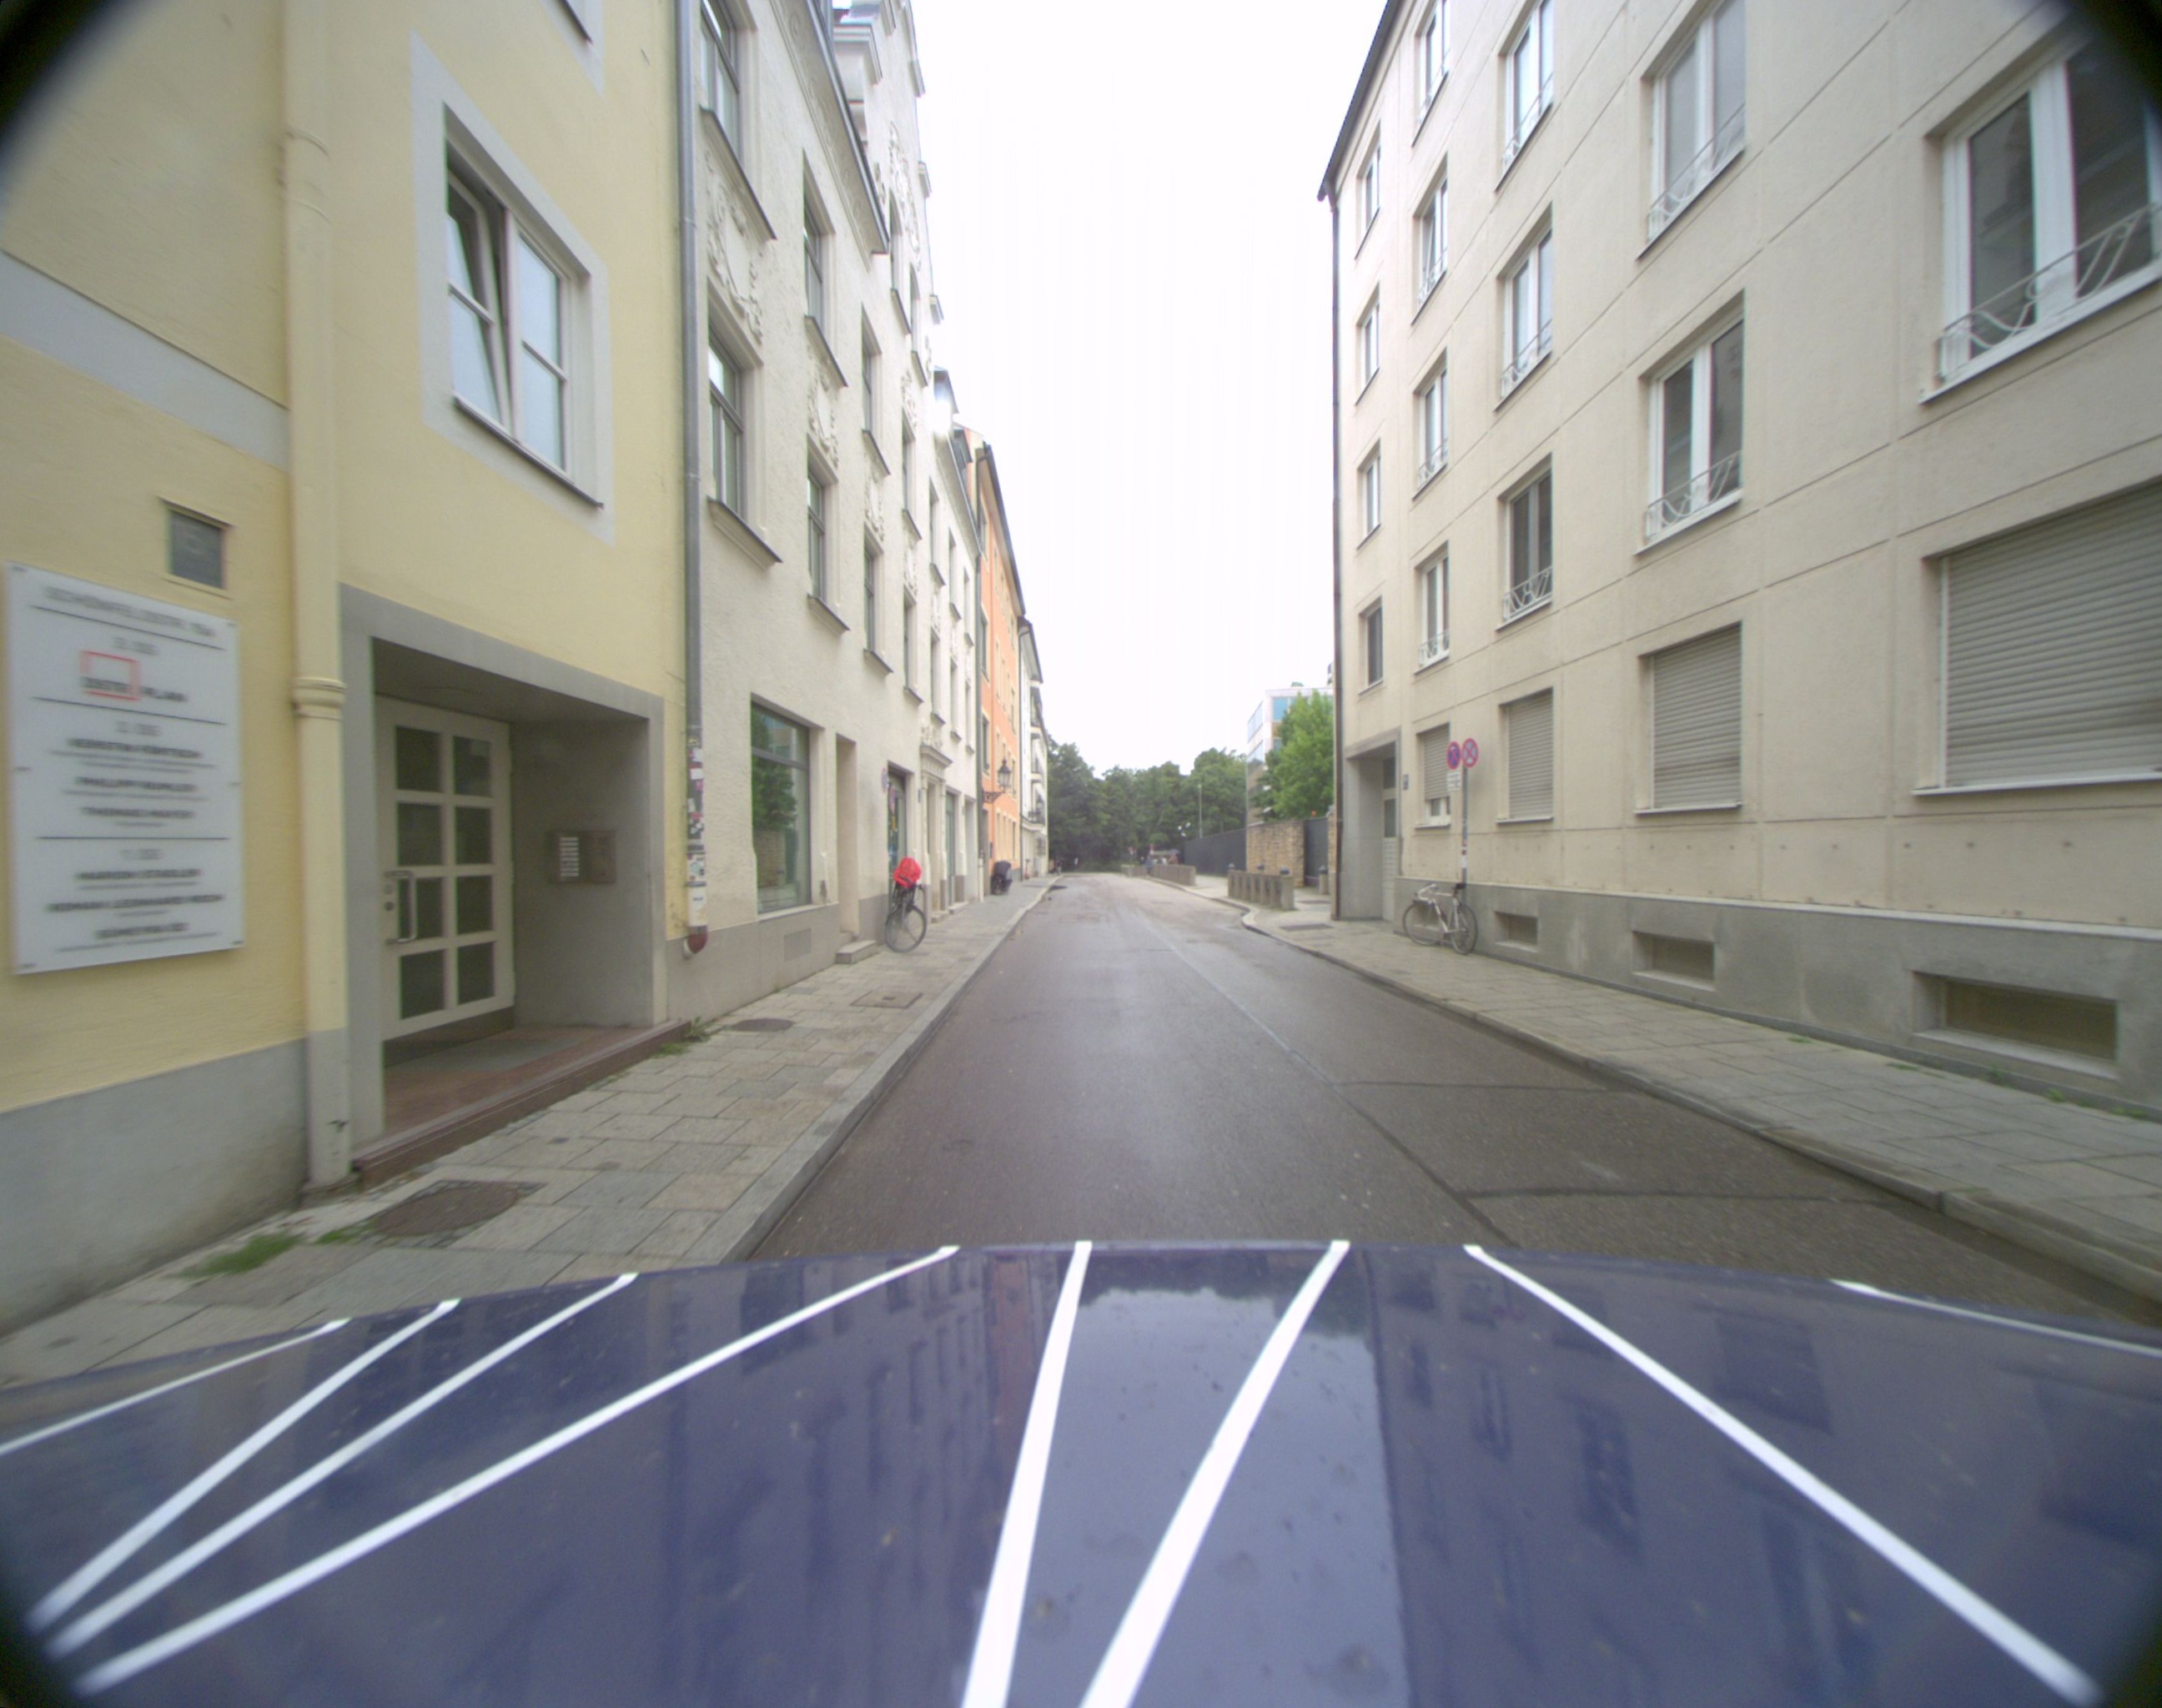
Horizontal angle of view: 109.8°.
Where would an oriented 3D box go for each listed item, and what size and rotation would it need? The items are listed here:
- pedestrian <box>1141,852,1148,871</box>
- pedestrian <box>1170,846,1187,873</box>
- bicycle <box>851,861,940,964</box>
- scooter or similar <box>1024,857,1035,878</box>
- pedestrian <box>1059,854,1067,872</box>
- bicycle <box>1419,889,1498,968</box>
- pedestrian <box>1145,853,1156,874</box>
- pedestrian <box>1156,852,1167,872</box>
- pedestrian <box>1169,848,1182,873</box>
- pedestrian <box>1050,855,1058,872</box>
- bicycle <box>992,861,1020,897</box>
[{"bbox_3d":[6.081,0.728,72.499,0.625,1.758,0.766,-1,0,-1],"label":"pedestrian"},{"bbox_3d":[7.484,0.427,58.383,1.226,2.091,1.117,-1,0,2],"label":"pedestrian"},{"bbox_3d":[-2.773,0.818,11.601,0.715,1.388,2.122,2,0,2],"label":"bicycle"},{"bbox_3d":[-3.143,0.810,46.390,0.466,1.251,1.275,2,1,-14],"label":"scooter or similar"},{"bbox_3d":[-1.746,0.868,74.431,0.753,1.725,0.853,-1,0,-2],"label":"pedestrian"},{"bbox_3d":[5.262,1.002,10.671,0.320,0.938,1.574,-4,0,2],"label":"bicycle"},{"bbox_3d":[4.899,0.661,53.863,0.640,1.458,1.079,-3,0,0],"label":"pedestrian"},{"bbox_3d":[6.293,0.600,59.168,0.778,1.531,0.933,-3,0,8],"label":"pedestrian"},{"bbox_3d":[6.634,0.445,53.491,0.826,1.713,0.906,-3,0,5],"label":"pedestrian"},{"bbox_3d":[-2.633,0.902,74.244,0.753,1.671,0.656,-1,0,-1],"label":"pedestrian"},{"bbox_3d":[-2.790,0.899,28.545,0.681,1.233,2.382,4,0,2],"label":"bicycle"}]
